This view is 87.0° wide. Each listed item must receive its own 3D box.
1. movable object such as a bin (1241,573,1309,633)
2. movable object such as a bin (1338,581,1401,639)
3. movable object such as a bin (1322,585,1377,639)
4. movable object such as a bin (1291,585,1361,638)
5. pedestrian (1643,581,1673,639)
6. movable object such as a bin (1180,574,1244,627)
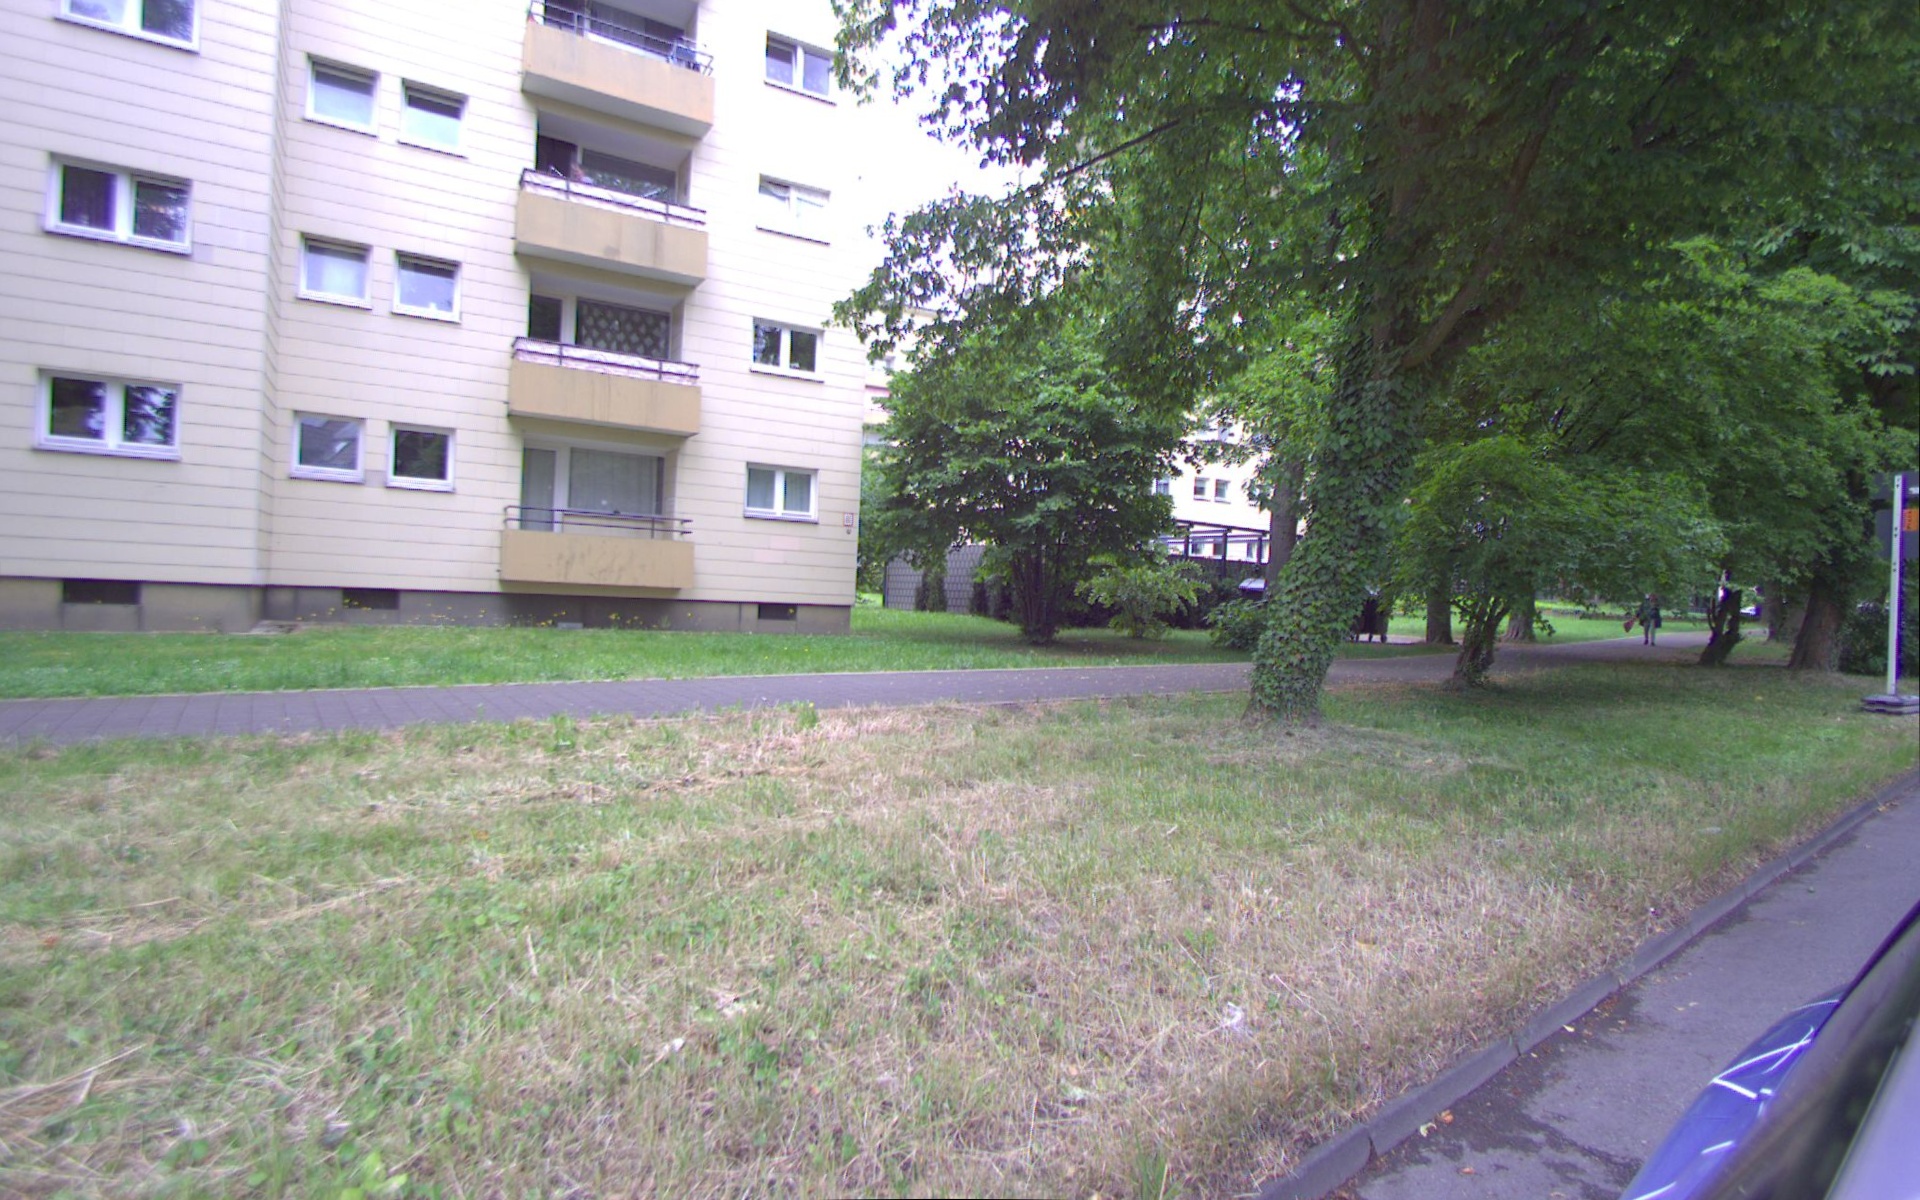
[{"bbox_3d":[8.110,0.065,26.028,1.190,1.475,1.329,3,2,41],"label":"movable object such as a bin"},{"bbox_3d":[10.787,0.247,26.654,1.190,1.431,1.094,3,1,41],"label":"movable object such as a bin"},{"bbox_3d":[9.987,0.304,25.934,1.022,1.320,0.946,3,1,41],"label":"movable object such as a bin"},{"bbox_3d":[9.101,0.281,25.158,1.190,1.236,1.329,3,2,41],"label":"movable object such as a bin"},{"bbox_3d":[21.785,0.311,31.570,0.560,1.762,0.565,1,2,-42],"label":"pedestrian"},{"bbox_3d":[6.845,0.006,27.497,1.190,1.358,1.329,3,2,41],"label":"movable object such as a bin"}]
